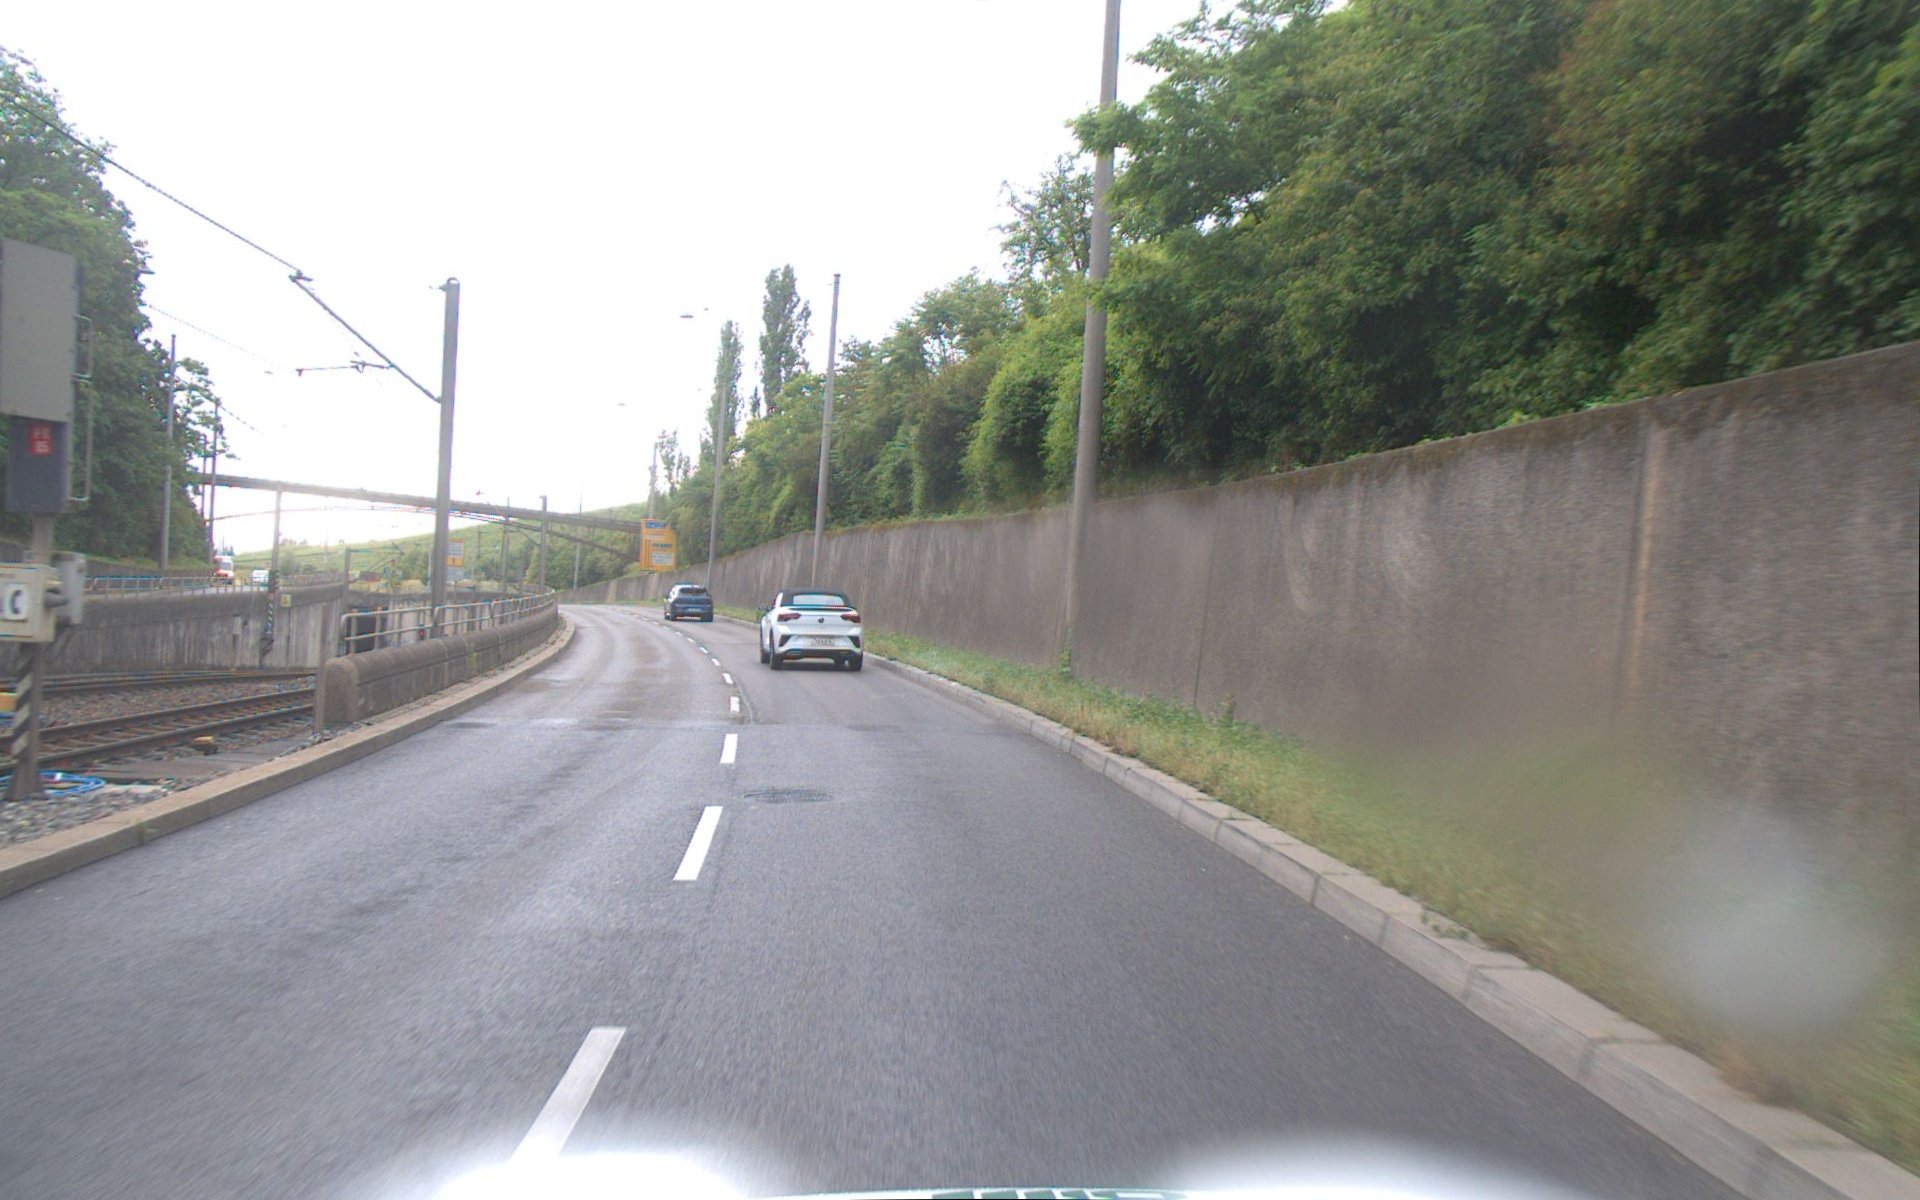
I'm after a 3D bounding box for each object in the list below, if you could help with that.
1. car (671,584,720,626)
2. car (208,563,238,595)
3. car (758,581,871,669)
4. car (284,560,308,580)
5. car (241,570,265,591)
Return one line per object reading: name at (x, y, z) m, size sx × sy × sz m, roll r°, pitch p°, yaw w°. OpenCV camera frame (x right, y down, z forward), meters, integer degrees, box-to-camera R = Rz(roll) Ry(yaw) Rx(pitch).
car at (-10.914, 0.185, 68.187) m, size 1.891 × 1.627 × 4.052 m, roll 1°, pitch 0°, yaw -9°
car at (-67.182, -1.863, 150.908) m, size 2.152 × 2.782 × 6.304 m, roll 1°, pitch 0°, yaw -21°
car at (-2.931, 0.450, 32.602) m, size 1.959 × 1.606 × 4.117 m, roll 1°, pitch 0°, yaw -9°
car at (-60.681, -2.745, 151.134) m, size 1.935 × 1.780 × 4.111 m, roll 1°, pitch 0°, yaw -23°
car at (-60.797, -1.678, 142.269) m, size 1.792 × 1.734 × 4.084 m, roll 1°, pitch 0°, yaw -21°
